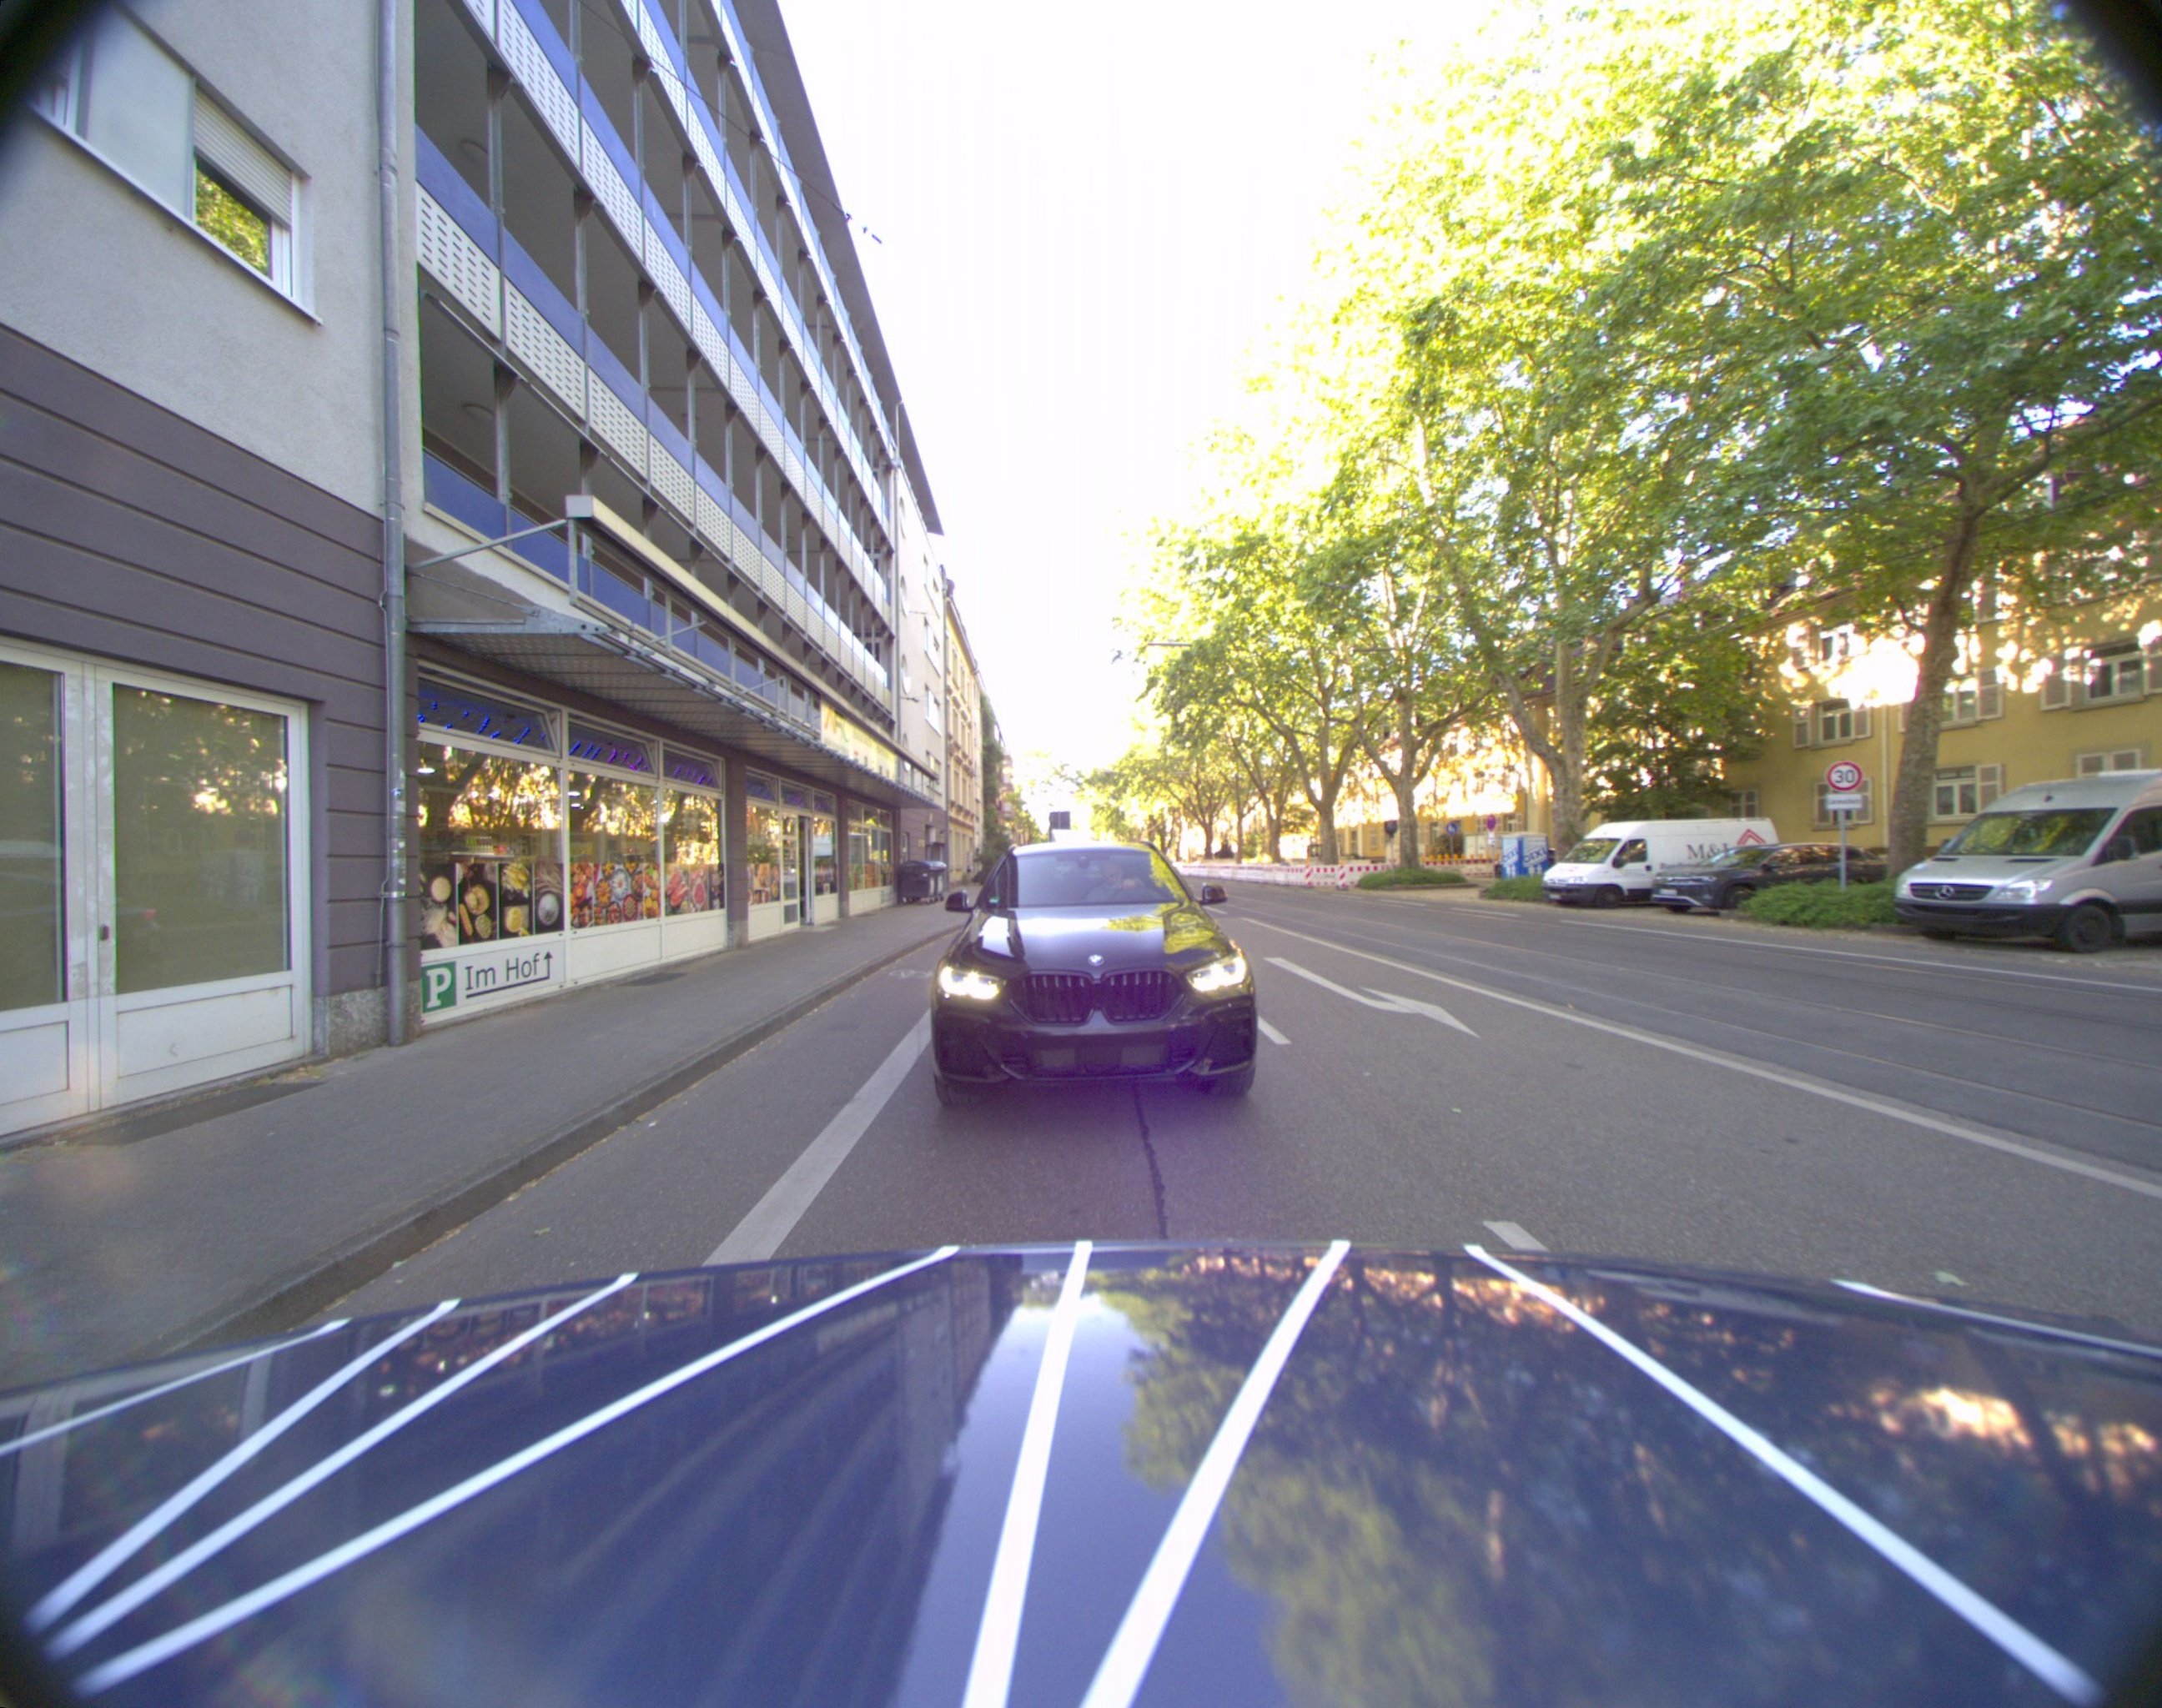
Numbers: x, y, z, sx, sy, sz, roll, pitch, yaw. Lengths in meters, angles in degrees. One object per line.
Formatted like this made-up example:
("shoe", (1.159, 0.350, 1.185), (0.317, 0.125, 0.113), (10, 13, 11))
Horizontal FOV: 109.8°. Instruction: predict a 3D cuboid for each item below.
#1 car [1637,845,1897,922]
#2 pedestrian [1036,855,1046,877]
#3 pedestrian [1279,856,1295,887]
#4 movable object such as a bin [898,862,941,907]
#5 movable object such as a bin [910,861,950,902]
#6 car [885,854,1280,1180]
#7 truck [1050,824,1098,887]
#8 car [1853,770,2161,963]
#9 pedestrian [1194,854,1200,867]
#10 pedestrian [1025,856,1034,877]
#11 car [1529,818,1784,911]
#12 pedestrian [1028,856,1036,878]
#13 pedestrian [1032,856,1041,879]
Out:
("car", (16.072, 0.657, 17.944), (4.627, 1.642, 1.774), (-1, 0, -2))
("pedestrian", (-3.473, 1.050, 65.969), (0.733, 1.875, 0.664), (-2, 1, -1))
("pedestrian", (11.859, 0.995, 43.665), (0.652, 1.735, 0.582), (-2, 1, -8))
("movable object such as a bin", (-5.224, 0.975, 24.650), (1.158, 1.418, 0.939), (-1, 0, 1))
("movable object such as a bin", (-5.289, 0.952, 26.688), (1.158, 1.418, 0.939), (-1, 0, 1))
("car", (0.037, 0.844, 6.037), (1.998, 1.643, 4.295), (-1, 0, 1))
("truck", (-0.321, 0.120, 42.194), (2.394, 3.170, 6.587), (-1, 0, 1))
("car", (15.979, 0.128, 11.862), (5.666, 2.666, 2.223), (-2, 0, -2))
("pedestrian", (16.298, 0.906, 106.718), (0.732, 1.875, 0.665), (-2, 1, 8))
("pedestrian", (-4.501, 1.096, 66.726), (0.733, 1.875, 0.664), (-2, 1, -1))
("car", (15.839, 0.289, 21.152), (5.404, 2.362, 2.223), (-1, 0, 0))
("pedestrian", (-4.206, 1.106, 64.872), (0.600, 1.875, 0.581), (-2, 1, -1))
("pedestrian", (-3.739, 1.100, 63.793), (0.600, 1.875, 0.581), (-2, 1, -1))
